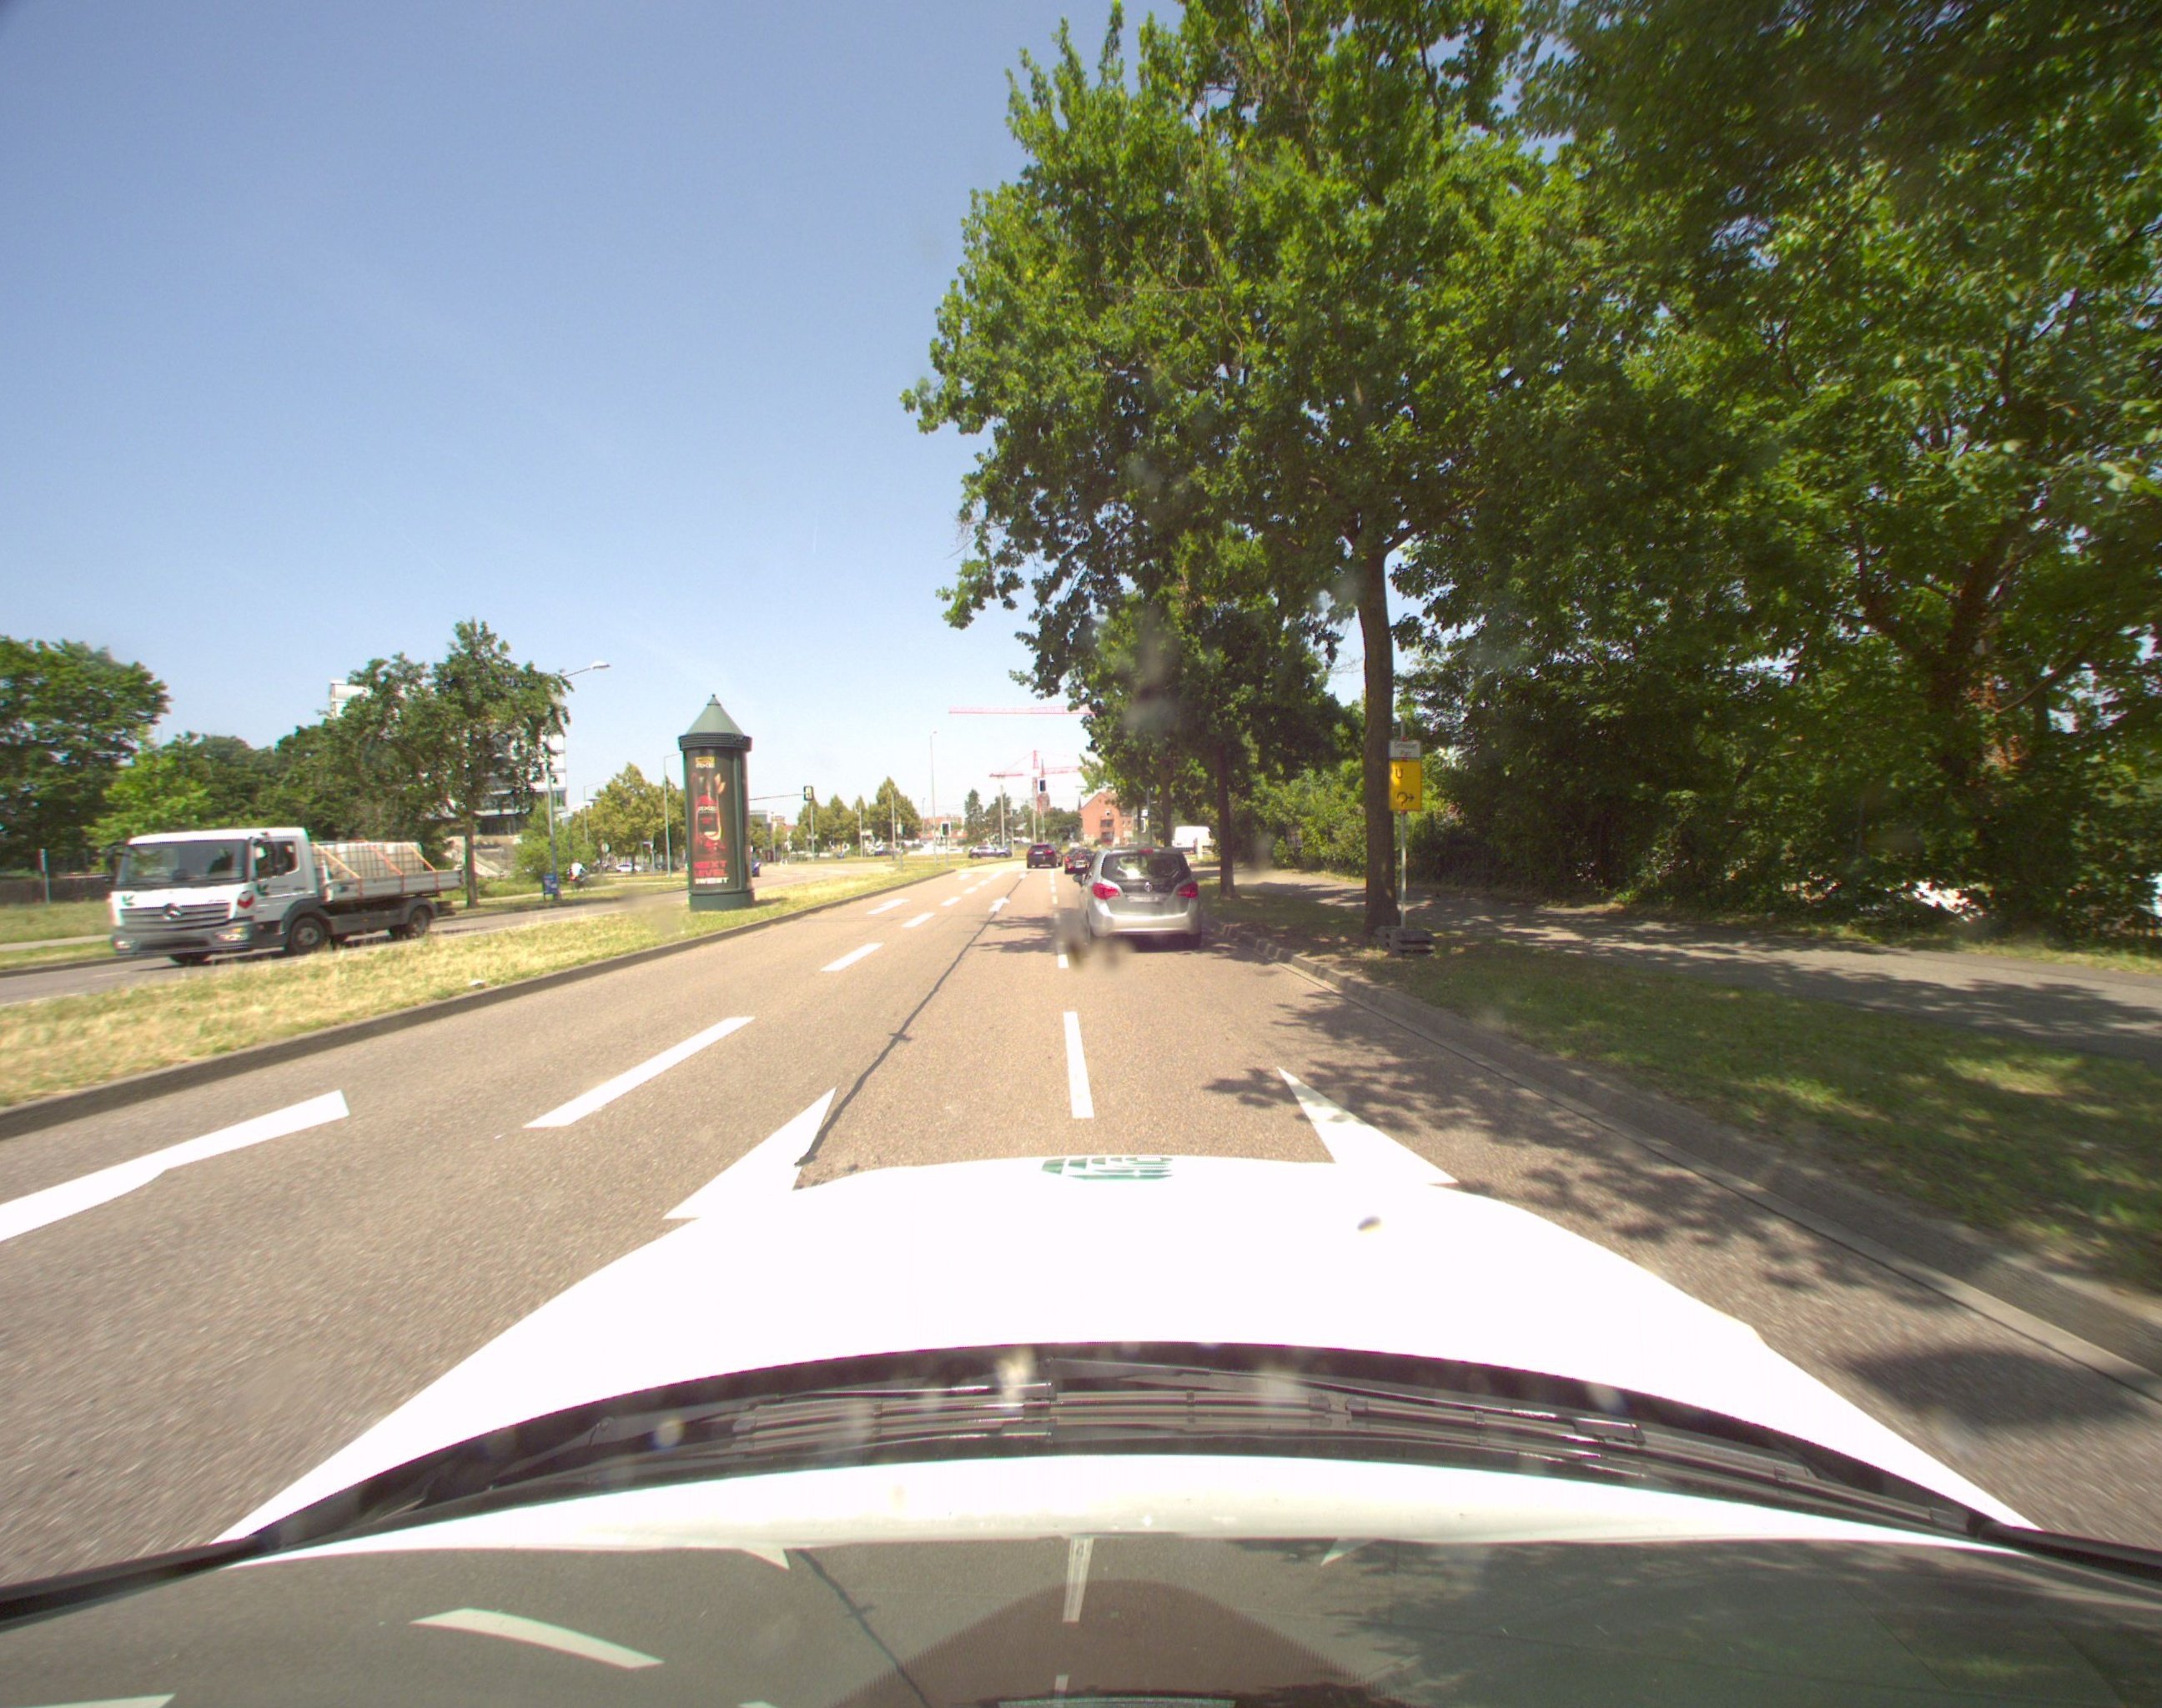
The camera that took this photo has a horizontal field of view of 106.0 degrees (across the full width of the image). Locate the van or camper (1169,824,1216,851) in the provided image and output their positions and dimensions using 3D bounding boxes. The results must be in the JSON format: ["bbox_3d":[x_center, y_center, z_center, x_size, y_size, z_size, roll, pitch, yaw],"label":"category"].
[{"bbox_3d":[10.282,-1.540,74.965,2.469,2.291,4.952,-2,1,31],"label":"van or camper"}]

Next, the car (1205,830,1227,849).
[{"bbox_3d":[15.873,-1.704,95.536,1.978,2.013,4.017,-2,1,16],"label":"car"}]

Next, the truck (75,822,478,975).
[{"bbox_3d":[-16.792,0.755,17.815,2.634,2.576,6.309,-4,1,-4],"label":"truck"}]

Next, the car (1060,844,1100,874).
[{"bbox_3d":[-0.053,0.246,45.188,2.008,1.517,4.460,-3,1,0],"label":"car"}]

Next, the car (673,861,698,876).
[{"bbox_3d":[-40.422,1.449,83.259,1.753,1.424,3.799,-3,1,-34],"label":"car"}]

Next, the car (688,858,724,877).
[{"bbox_3d":[-34.395,1.206,74.593,2.010,1.596,3.953,-3,1,-39],"label":"car"}]

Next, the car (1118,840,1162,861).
[{"bbox_3d":[4.576,-0.279,62.419,1.926,1.442,4.024,-2,1,26],"label":"car"}]

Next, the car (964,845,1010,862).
[{"bbox_3d":[-8.665,-0.053,75.503,3.976,1.453,1.999,-2,0,-2],"label":"car"}]

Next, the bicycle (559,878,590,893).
[{"bbox_3d":[-27.286,1.679,43.890,0.479,0.715,1.850,-2,1,1],"label":"bicycle"}]

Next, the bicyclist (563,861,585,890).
[{"bbox_3d":[-27.299,1.135,43.877,0.621,1.489,0.757,-2,0,1],"label":"bicyclist"}]

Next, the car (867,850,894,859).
[{"bbox_3d":[-33.546,0.044,136.244,3.952,1.288,2.011,-2,1,22],"label":"car"}]

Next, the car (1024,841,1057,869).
[{"bbox_3d":[-2.671,0.021,54.047,1.992,1.689,4.032,-1,1,-1],"label":"car"}]

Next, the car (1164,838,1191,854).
[{"bbox_3d":[11.303,-0.972,94.961,1.975,1.649,4.023,-2,1,24],"label":"car"}]

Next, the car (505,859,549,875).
[{"bbox_3d":[-74.084,1.717,108.910,1.974,1.878,4.317,-2,1,30],"label":"car"}]

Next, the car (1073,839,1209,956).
[{"bbox_3d":[0.845,0.600,13.643,1.788,1.611,3.887,-2,1,-2],"label":"car"}]

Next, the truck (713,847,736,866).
[{"bbox_3d":[-52.601,0.385,120.153,2.369,2.594,6.352,-3,1,-29],"label":"truck"}]
